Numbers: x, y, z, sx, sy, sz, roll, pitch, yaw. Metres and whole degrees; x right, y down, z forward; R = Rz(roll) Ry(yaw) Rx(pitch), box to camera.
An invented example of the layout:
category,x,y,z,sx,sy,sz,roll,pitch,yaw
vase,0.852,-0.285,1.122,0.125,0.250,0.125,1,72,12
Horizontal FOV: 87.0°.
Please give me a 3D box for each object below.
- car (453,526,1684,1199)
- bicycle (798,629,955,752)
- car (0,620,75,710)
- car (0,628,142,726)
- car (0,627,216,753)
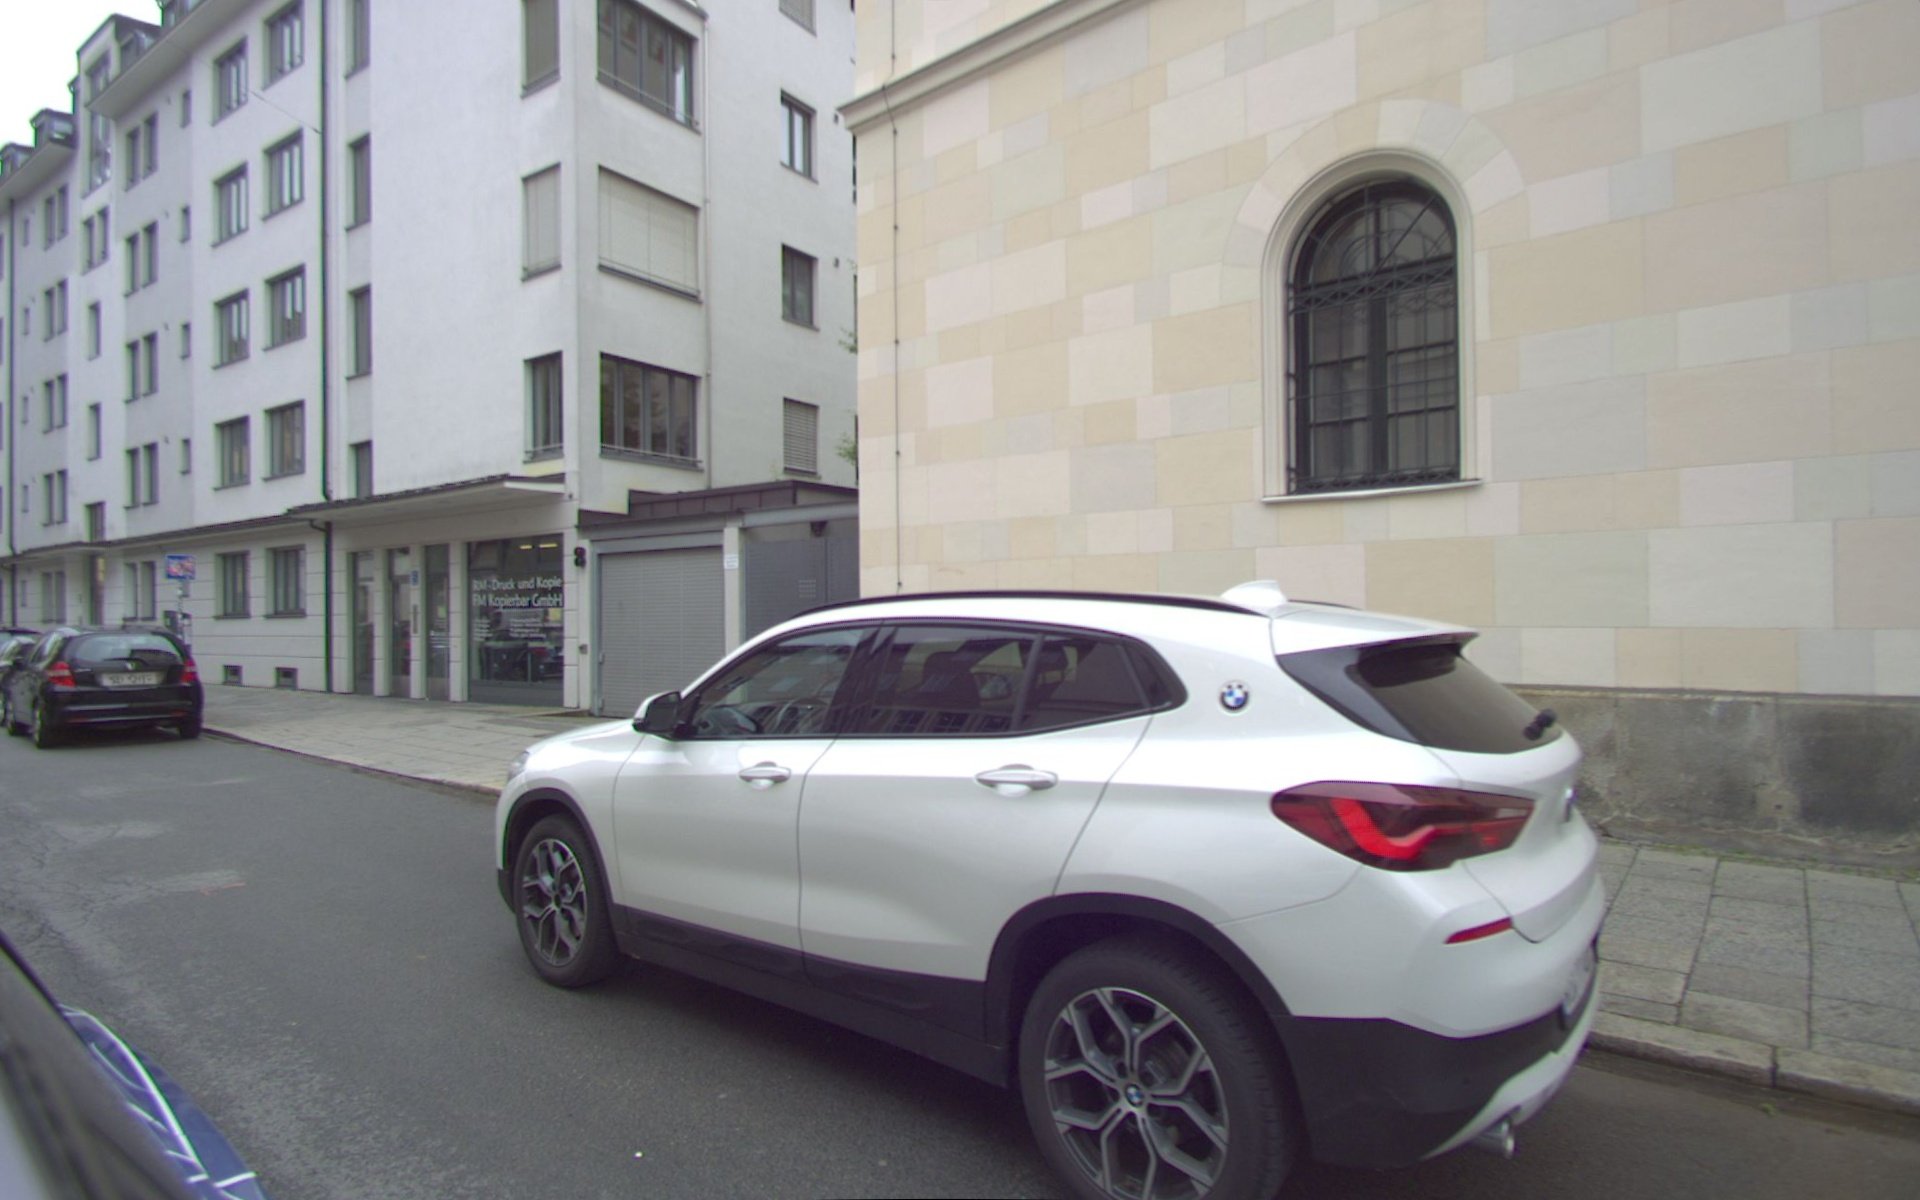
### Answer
category,x,y,z,sx,sy,sz,roll,pitch,yaw
car,0.009,0.701,3.713,4.207,1.546,1.760,-1,-2,39
bicycle,-0.850,0.909,10.641,1.690,1.187,0.476,1,-2,-41
car,-19.592,1.304,20.262,4.069,1.671,1.856,-3,-3,35
car,-15.369,1.253,16.941,4.009,1.464,1.734,-3,-4,38
car,-11.805,1.159,13.825,4.012,1.464,1.733,-3,-4,40
